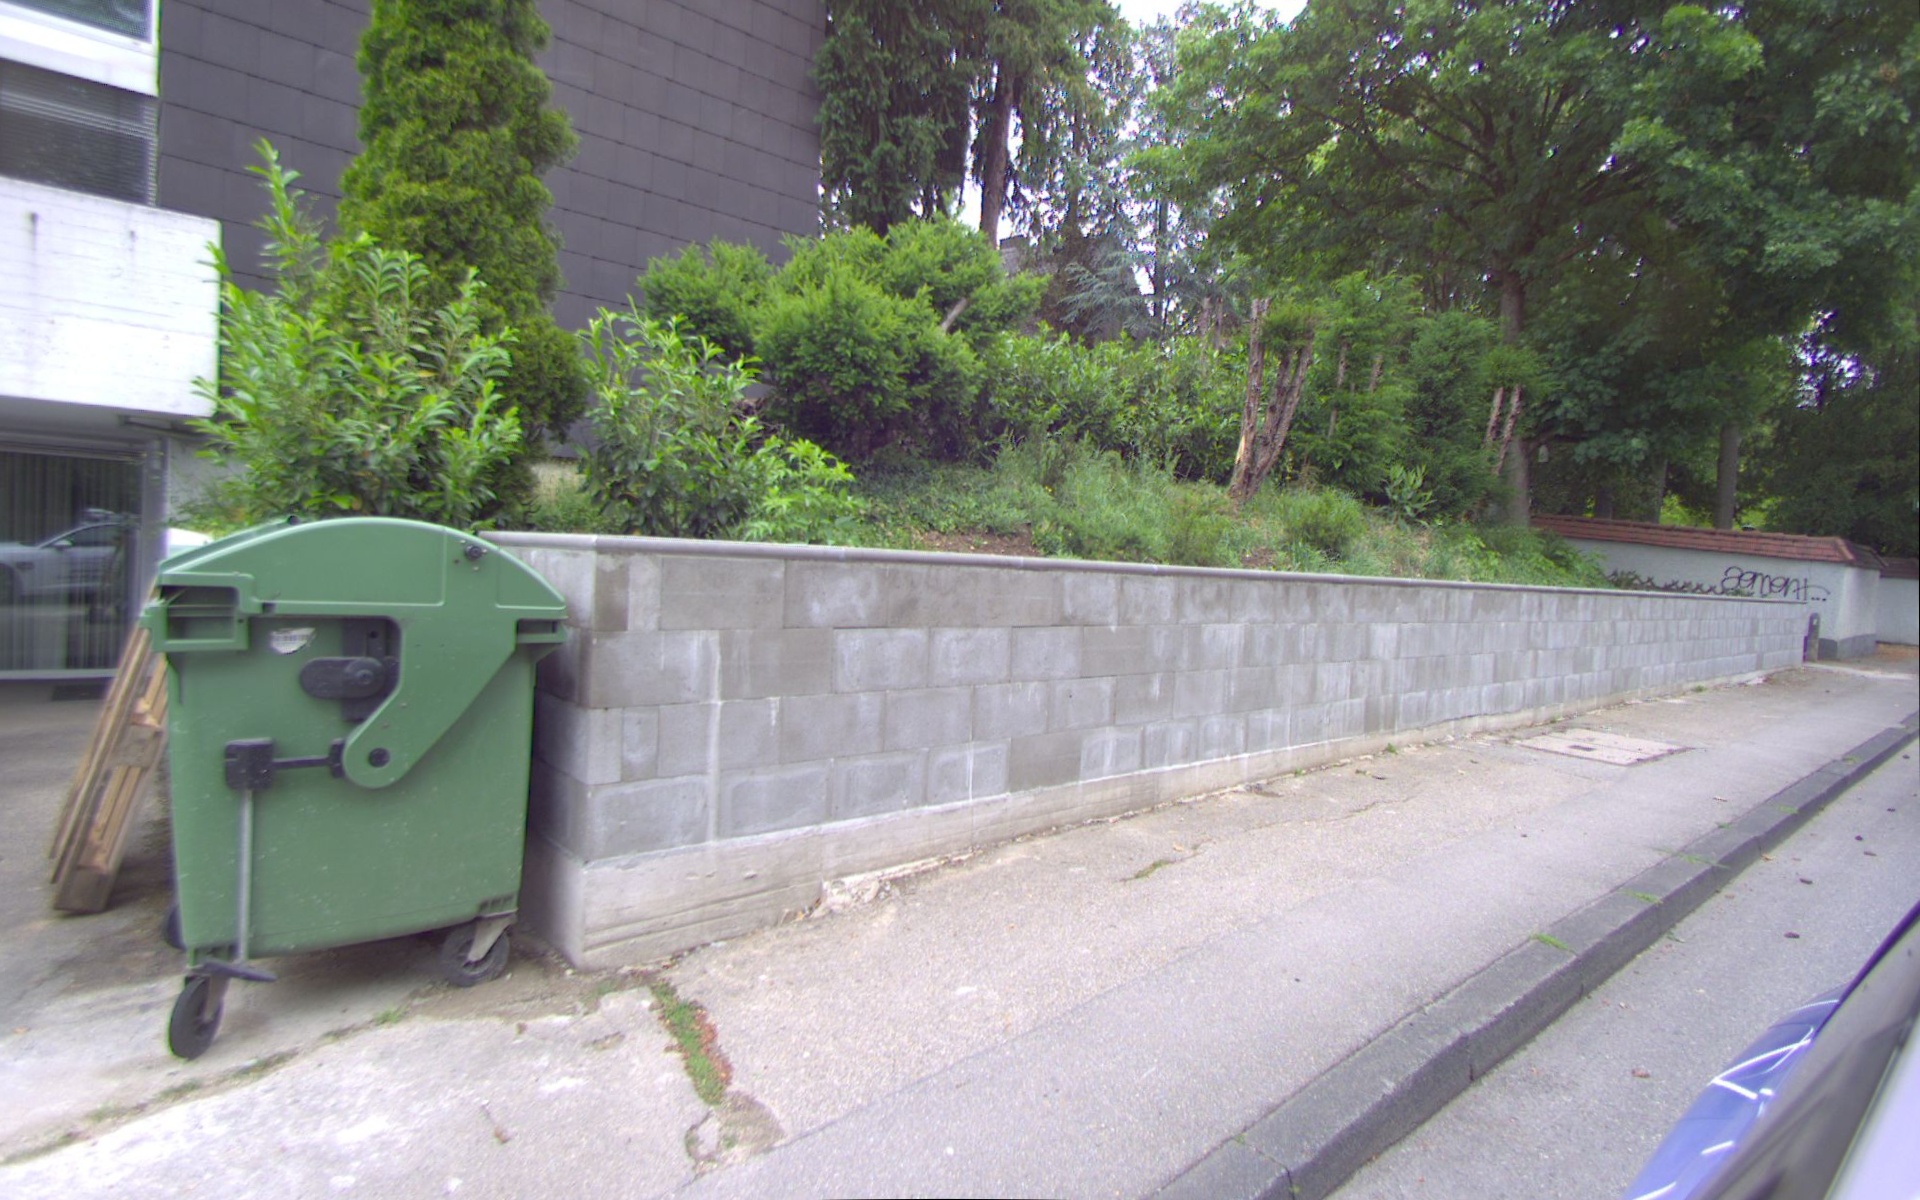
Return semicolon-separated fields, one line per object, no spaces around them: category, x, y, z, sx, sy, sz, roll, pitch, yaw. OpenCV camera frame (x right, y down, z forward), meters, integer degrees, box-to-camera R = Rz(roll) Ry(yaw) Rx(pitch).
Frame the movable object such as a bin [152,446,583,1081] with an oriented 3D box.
movable object such as a bin;-1.881;0.377;3.185;1.014;1.549;1.037;0;2;-39
